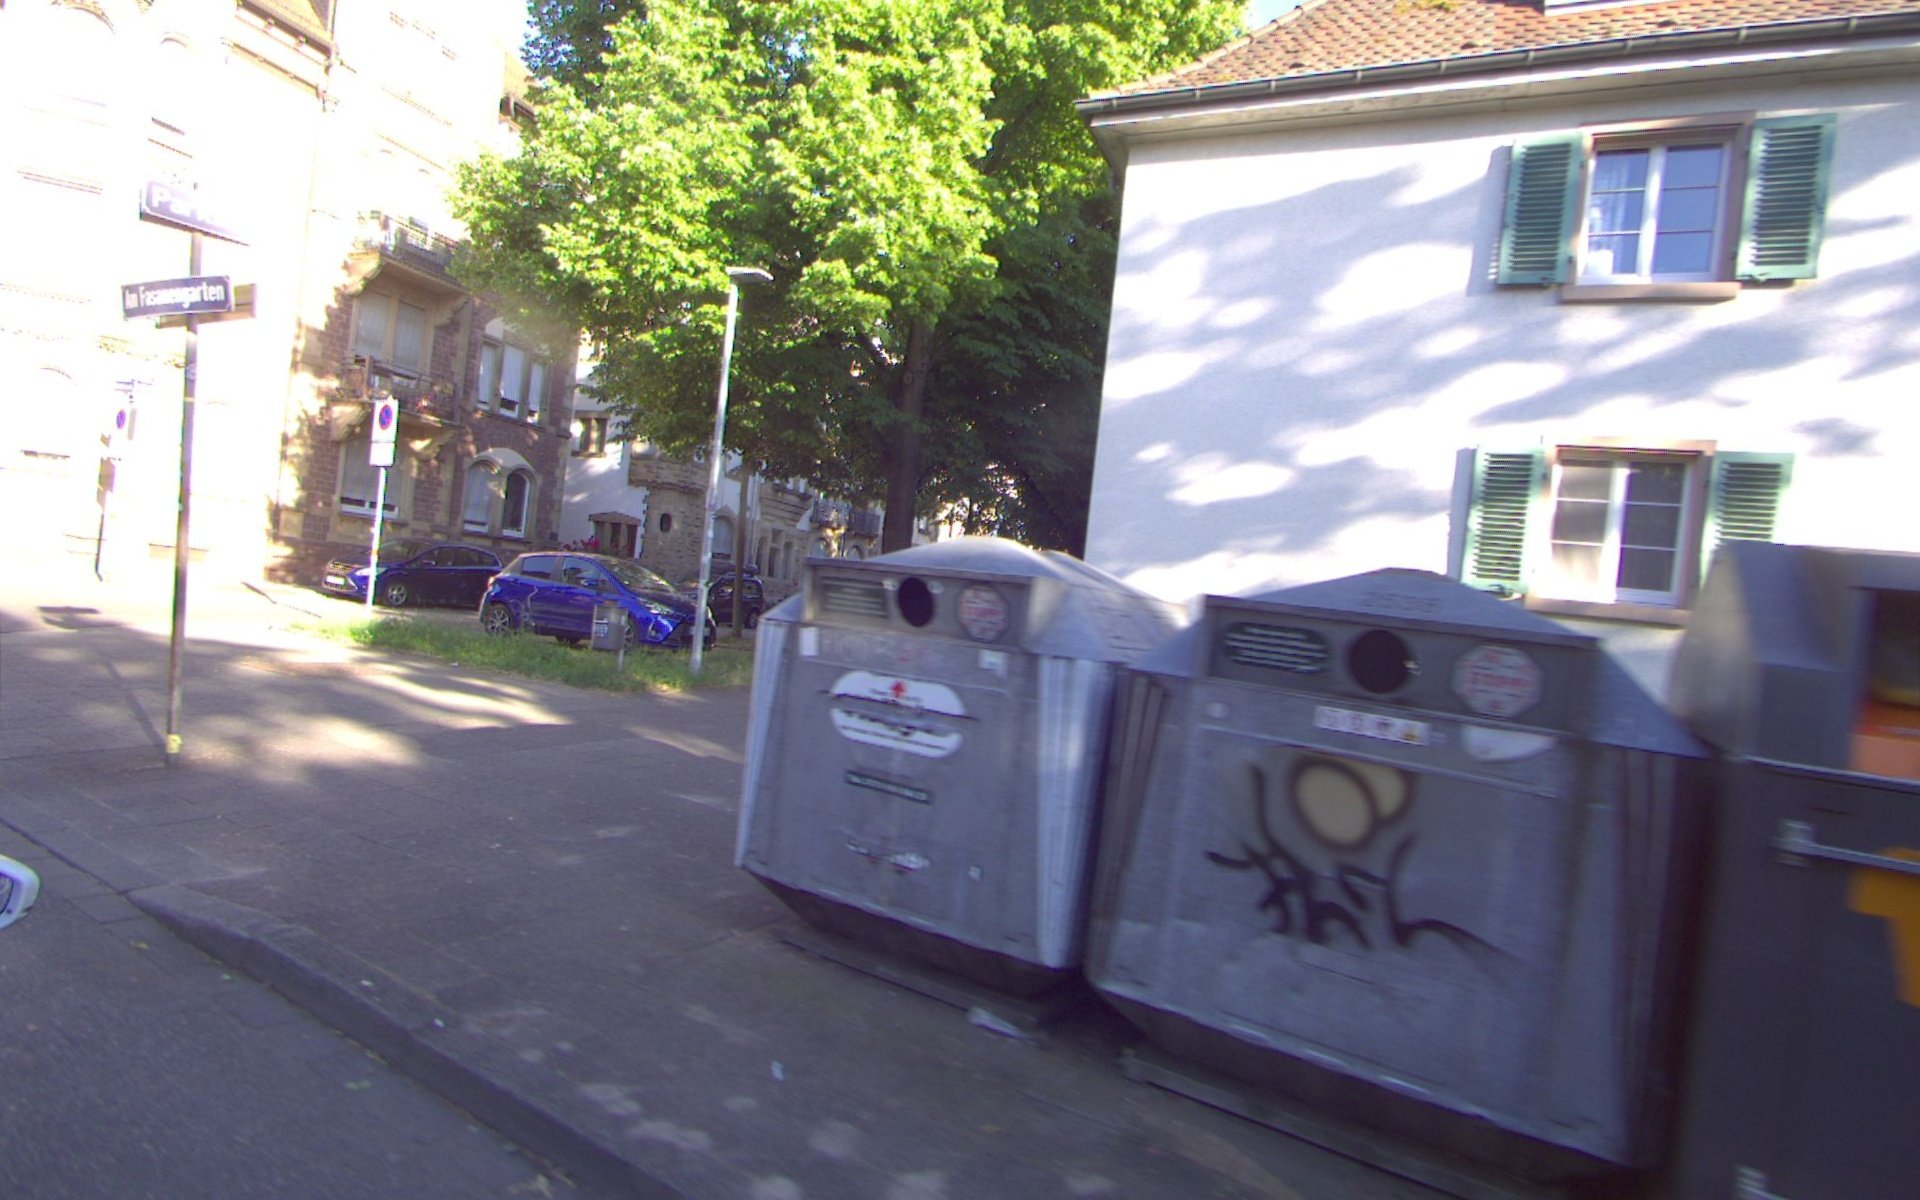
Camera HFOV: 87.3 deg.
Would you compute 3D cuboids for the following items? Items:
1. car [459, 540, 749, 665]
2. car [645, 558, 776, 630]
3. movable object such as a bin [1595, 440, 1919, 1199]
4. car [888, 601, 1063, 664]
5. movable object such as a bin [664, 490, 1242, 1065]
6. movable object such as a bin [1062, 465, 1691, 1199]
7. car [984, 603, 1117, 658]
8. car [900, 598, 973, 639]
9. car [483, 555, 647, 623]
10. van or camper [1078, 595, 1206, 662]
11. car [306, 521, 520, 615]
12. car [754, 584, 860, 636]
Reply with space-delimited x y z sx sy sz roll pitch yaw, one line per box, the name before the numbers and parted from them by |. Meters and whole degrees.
car | -5.676 0.049 16.117 3.927 1.574 2.000 5 -2 22
car | -8.423 -0.131 34.408 1.939 1.999 4.496 8 0 22
movable object such as a bin | 2.464 0.767 2.400 1.370 1.875 1.924 6 -1 31
car | 0.459 0.972 30.250 4.820 1.459 1.943 4 -2 22
movable object such as a bin | 0.048 0.552 4.105 1.613 1.677 1.589 6 -1 31
movable object such as a bin | 1.275 0.625 3.140 1.363 1.849 1.149 6 -1 31
car | 3.326 1.119 36.868 4.409 1.691 1.941 3 0 22
car | -1.141 0.950 51.032 2.019 1.641 4.396 6 -2 22
car | -11.192 -0.259 28.867 1.703 1.517 4.453 8 0 22
van or camper | 8.760 1.373 48.395 5.490 2.568 2.268 7 0 22
car | -12.895 -0.684 24.033 1.703 1.641 4.260 8 -1 22
car | -5.993 0.445 39.982 1.704 1.592 4.707 6 -2 25
